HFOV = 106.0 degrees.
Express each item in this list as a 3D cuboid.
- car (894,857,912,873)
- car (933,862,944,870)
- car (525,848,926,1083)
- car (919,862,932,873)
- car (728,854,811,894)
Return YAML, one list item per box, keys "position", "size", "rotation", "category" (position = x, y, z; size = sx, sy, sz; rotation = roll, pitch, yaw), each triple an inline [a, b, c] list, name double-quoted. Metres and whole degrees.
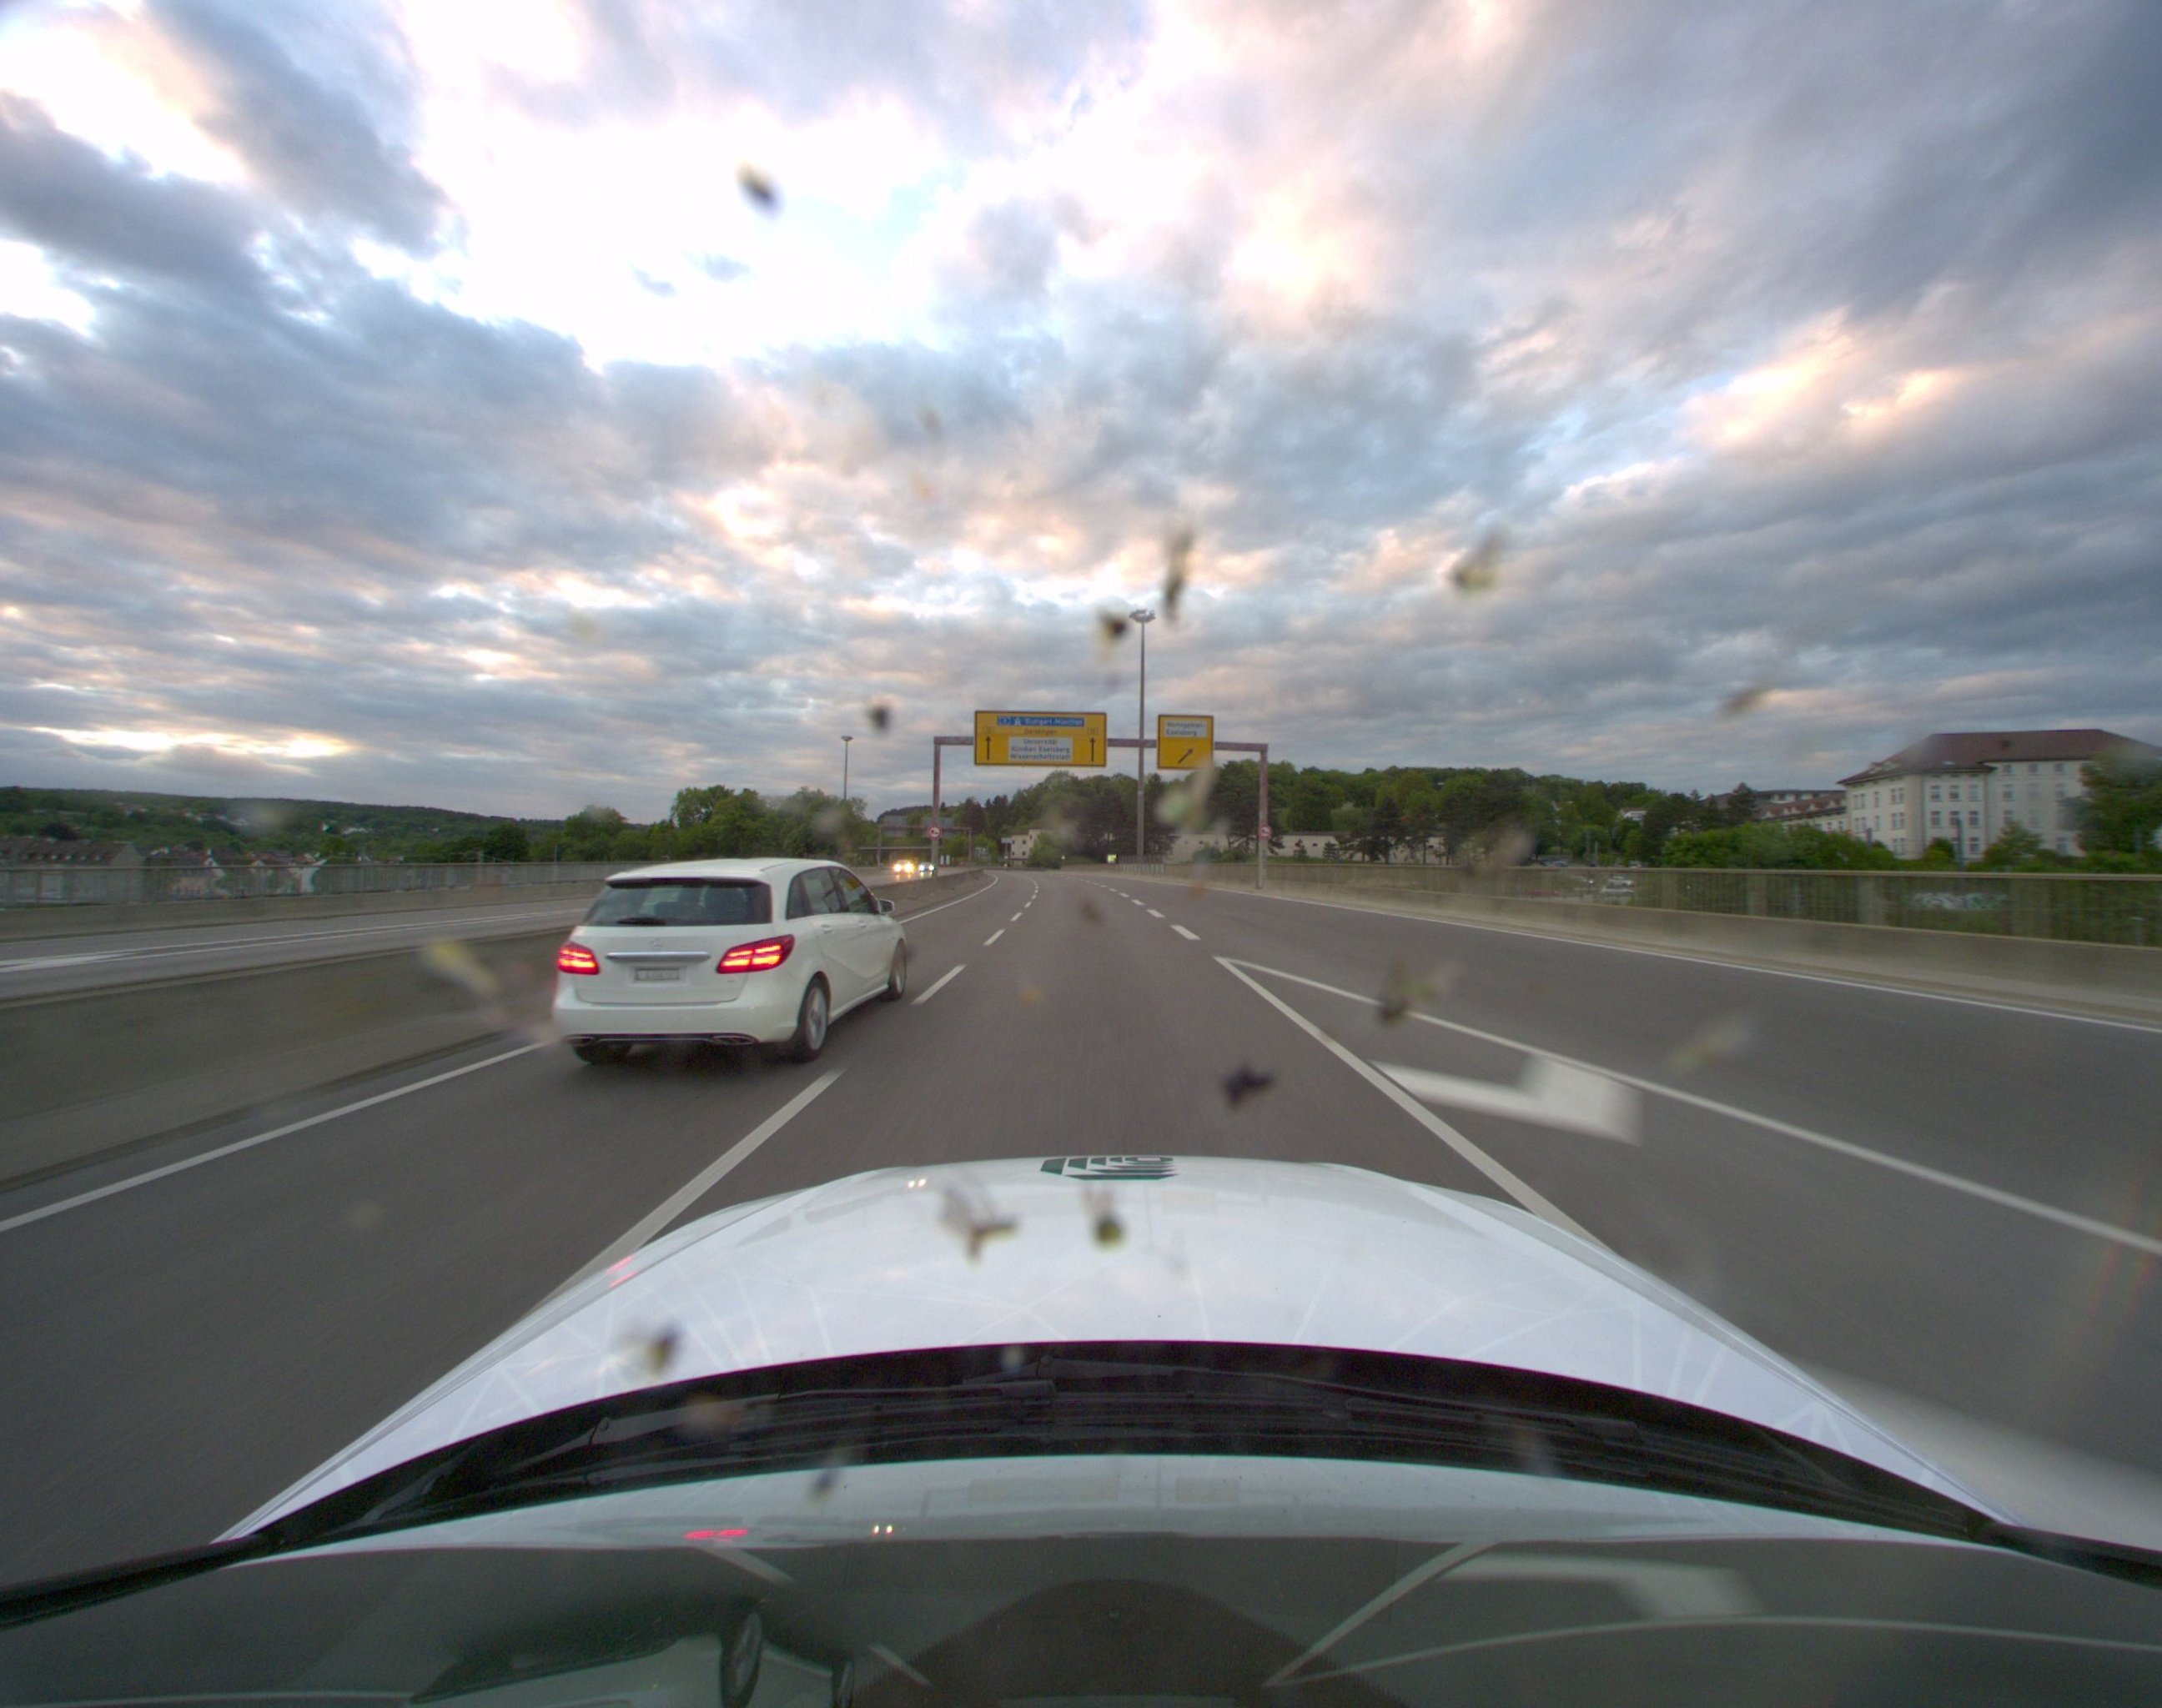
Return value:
- position: [-20.005, 1.275, 91.749]
  size: [1.666, 1.733, 3.989]
  rotation: [0, -1, -8]
  category: "car"
- position: [-38.926, 3.283, 222.116]
  size: [2.005, 1.838, 3.963]
  rotation: [1, -2, -28]
  category: "car"
- position: [-2.811, 0.791, 7.799]
  size: [1.685, 1.537, 4.783]
  rotation: [0, -1, 0]
  category: "car"
- position: [-23.360, 1.984, 122.700]
  size: [1.666, 1.643, 3.989]
  rotation: [0, -1, -8]
  category: "car"
- position: [-12.169, 0.752, 32.088]
  size: [1.726, 1.476, 4.220]
  rotation: [0, 0, -2]
  category: "car"
